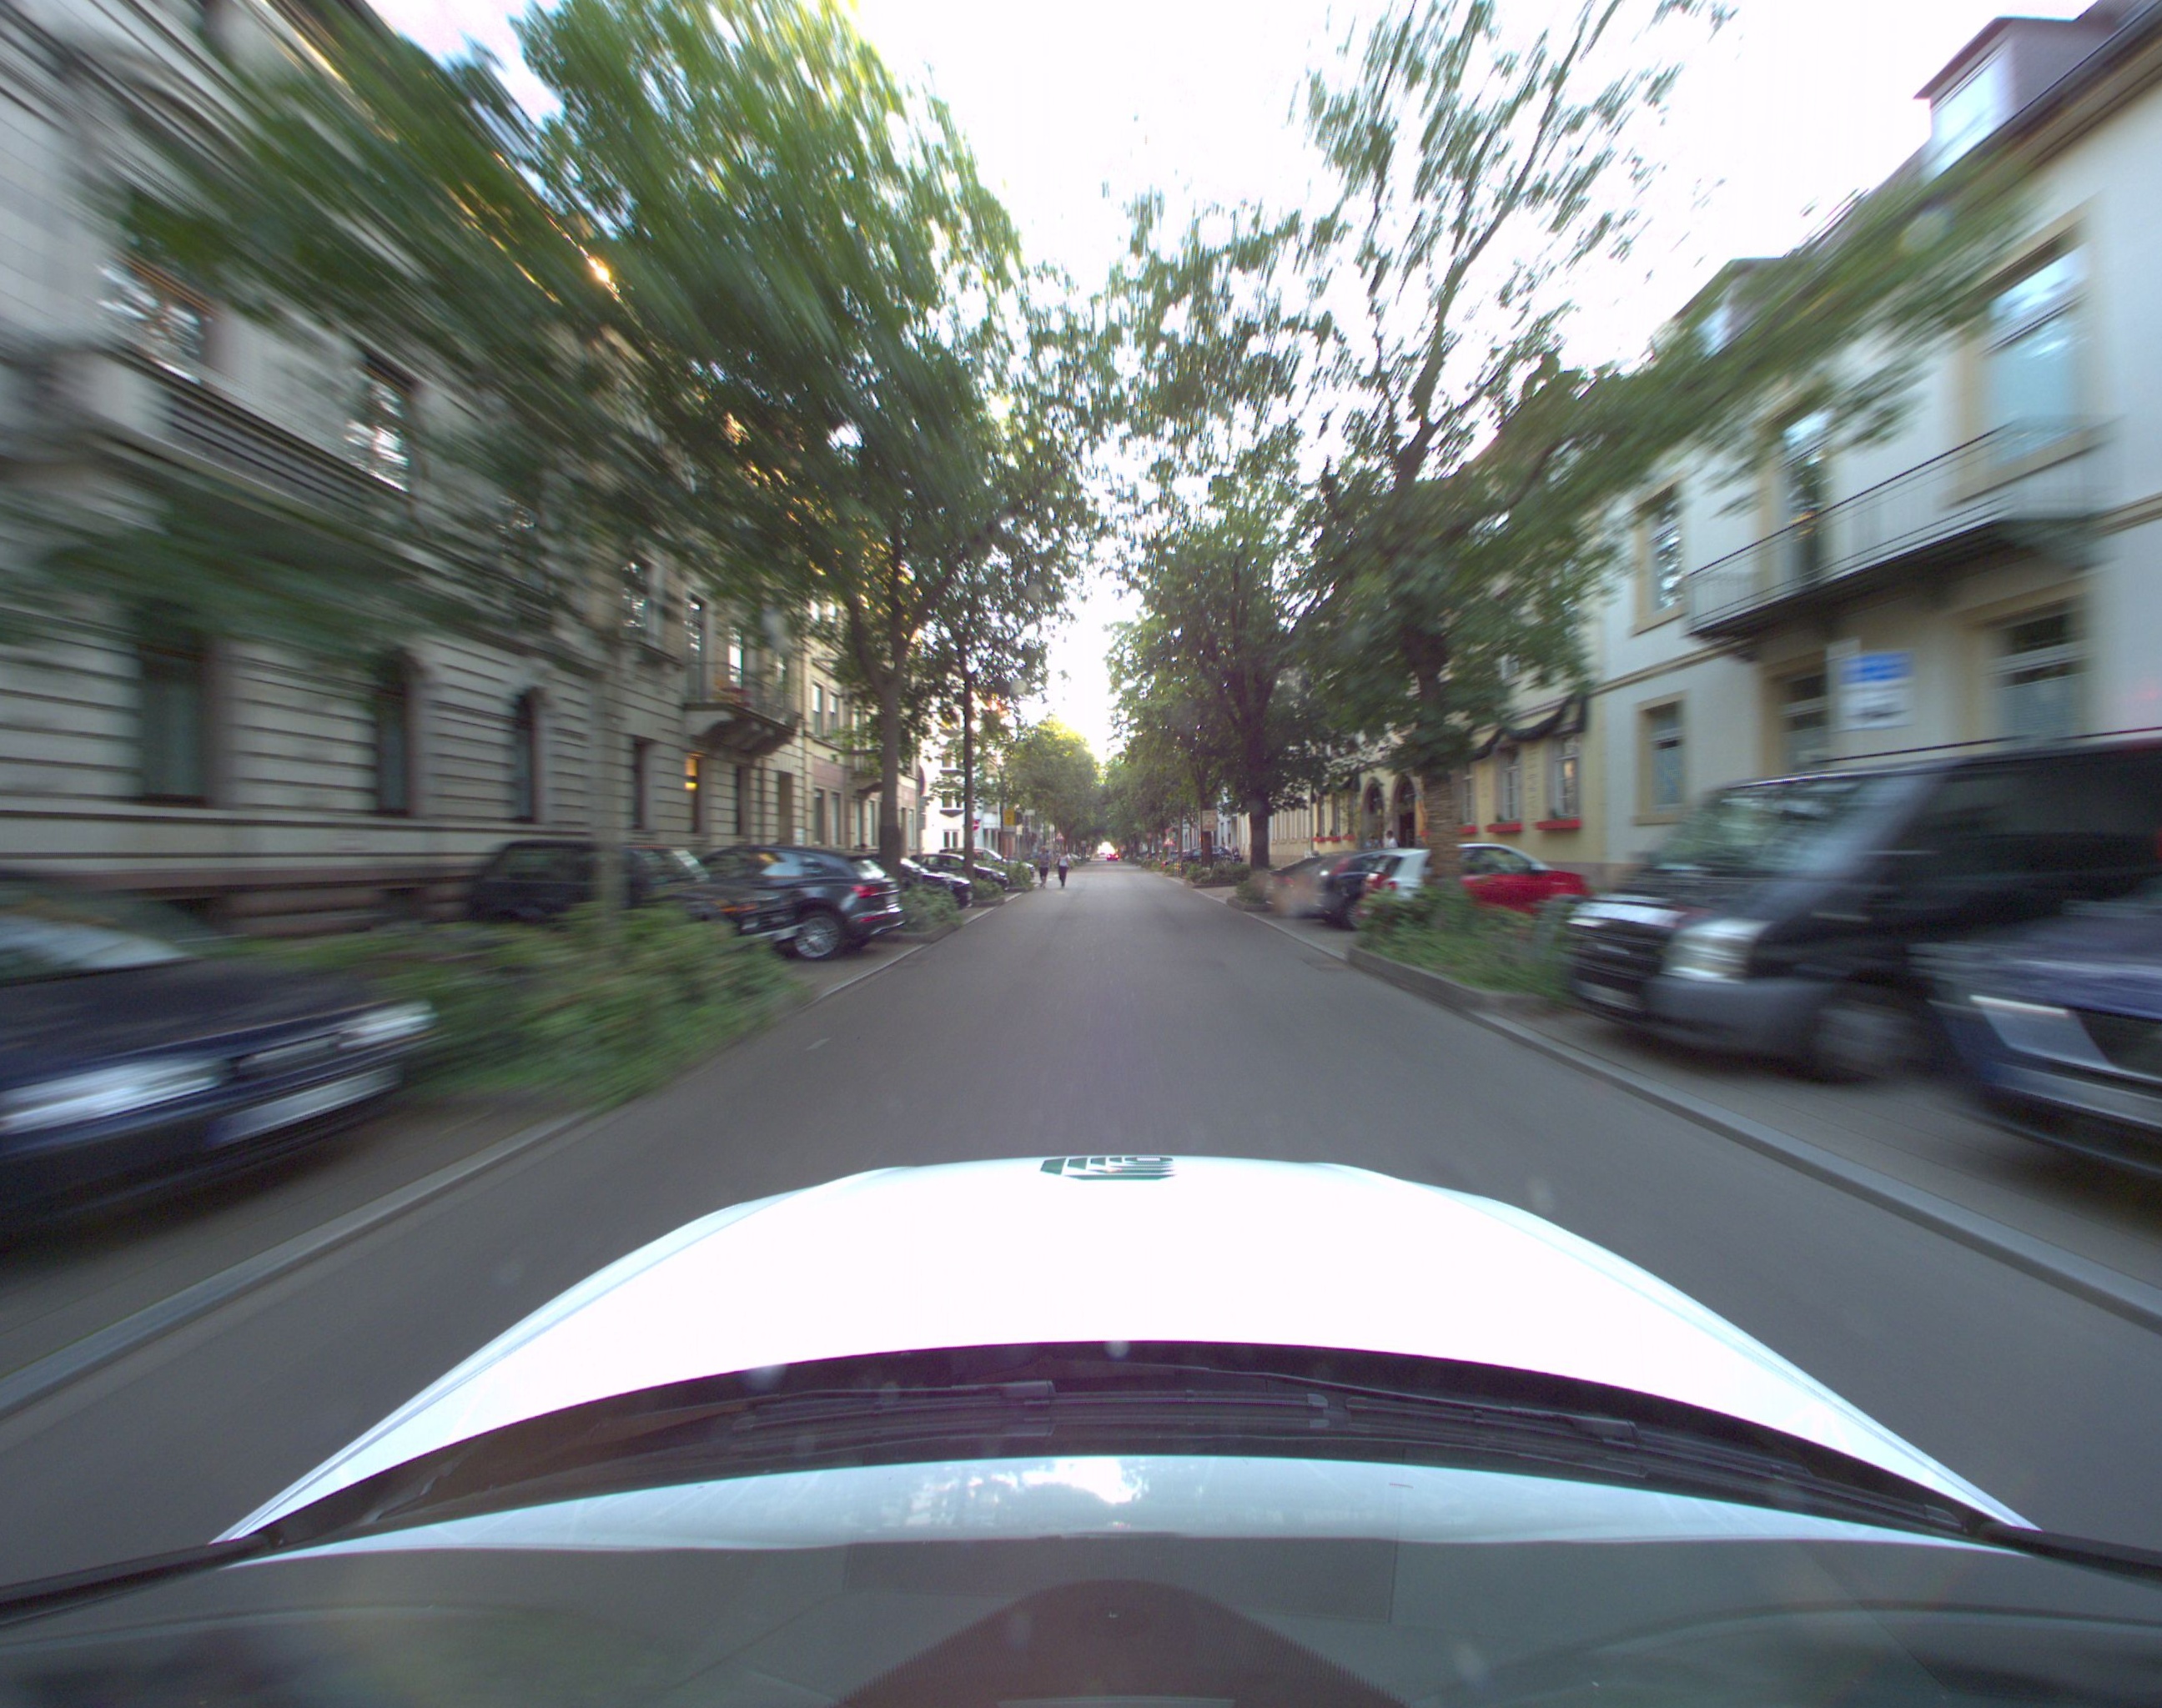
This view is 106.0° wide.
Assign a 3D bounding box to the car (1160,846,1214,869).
[{"bbox_3d":[7.399,0.266,56.987,3.473,1.452,1.899,-2,0,-1],"label":"car"}]

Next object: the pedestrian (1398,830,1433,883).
[{"bbox_3d":[11.452,0.078,27.877,0.778,1.738,0.681,-3,1,-15],"label":"pedestrian"}]

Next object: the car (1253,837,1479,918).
[{"bbox_3d":[6.310,0.498,18.382,4.387,1.393,1.885,-4,0,-1],"label":"car"}]

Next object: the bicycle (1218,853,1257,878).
[{"bbox_3d":[7.734,0.565,40.292,1.793,1.143,0.650,-2,0,-7],"label":"bicycle"}]

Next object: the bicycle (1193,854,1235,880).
[{"bbox_3d":[6.292,0.610,38.591,1.823,1.178,0.673,-2,0,0],"label":"bicycle"}]

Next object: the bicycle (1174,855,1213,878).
[{"bbox_3d":[5.811,0.639,42.110,1.837,1.135,0.742,-2,0,-9],"label":"bicycle"}]

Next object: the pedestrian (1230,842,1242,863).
[{"bbox_3d":[11.265,-0.113,59.177,0.652,1.536,0.832,-2,0,2],"label":"pedestrian"}]

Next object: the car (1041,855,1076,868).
[{"bbox_3d":[-2.569,0.848,92.695,3.854,1.486,1.758,0,0,3],"label":"car"}]

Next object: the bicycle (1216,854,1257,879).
[{"bbox_3d":[7.520,0.585,39.478,1.791,1.128,0.663,-2,0,-5],"label":"bicycle"}]

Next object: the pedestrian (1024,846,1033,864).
[{"bbox_3d":[-5.332,0.089,82.606,0.697,1.757,0.744,-1,-1,25],"label":"pedestrian"}]

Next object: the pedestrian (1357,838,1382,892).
[{"bbox_3d":[9.589,0.361,27.060,0.705,1.738,0.752,-3,1,21],"label":"pedestrian"}]

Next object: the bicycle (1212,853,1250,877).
[{"bbox_3d":[7.800,0.555,42.348,1.793,1.143,0.667,-2,0,-8],"label":"bicycle"}]

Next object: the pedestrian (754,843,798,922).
[{"bbox_3d":[-6.824,0.619,18.269,0.666,1.739,0.738,0,0,4],"label":"pedestrian"}]

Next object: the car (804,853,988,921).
[{"bbox_3d":[-4.311,0.759,19.484,3.931,1.532,1.908,0,0,1],"label":"car"}]

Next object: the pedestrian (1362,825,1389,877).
[{"bbox_3d":[10.071,-0.119,27.849,0.613,1.738,0.624,-3,1,1],"label":"pedestrian"}]

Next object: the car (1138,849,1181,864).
[{"bbox_3d":[8.857,0.270,92.306,4.698,1.710,1.951,-1,1,3],"label":"car"}]

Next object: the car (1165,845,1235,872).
[{"bbox_3d":[7.827,0.281,53.736,4.407,1.656,1.901,-2,0,3],"label":"car"}]

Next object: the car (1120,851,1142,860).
[{"bbox_3d":[9.982,0.352,163.757,4.253,1.565,1.963,-3,-1,1],"label":"car"}]

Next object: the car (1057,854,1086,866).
[{"bbox_3d":[-1.401,0.868,121.152,4.188,1.635,1.963,-3,-1,1],"label":"car"}]

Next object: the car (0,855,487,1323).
[{"bbox_3d":[-5.258,0.744,3.599,3.949,1.387,1.766,2,1,2],"label":"car"}]

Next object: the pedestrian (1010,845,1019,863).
[{"bbox_3d":[-6.414,0.017,78.772,0.700,1.728,0.905,-1,-1,2],"label":"pedestrian"}]

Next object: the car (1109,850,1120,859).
[{"bbox_3d":[6.219,0.085,151.191,1.949,1.565,4.284,-3,0,2],"label":"car"}]

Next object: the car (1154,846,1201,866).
[{"bbox_3d":[7.749,0.162,65.486,3.473,1.452,1.899,-2,0,-1],"label":"car"}]

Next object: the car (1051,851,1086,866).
[{"bbox_3d":[-1.769,0.691,113.433,4.665,1.854,1.963,-3,-1,1],"label":"car"}]

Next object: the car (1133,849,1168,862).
[{"bbox_3d":[9.143,0.231,107.676,4.487,1.521,1.998,-3,-1,4],"label":"car"}]

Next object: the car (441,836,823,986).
[{"bbox_3d":[-5.407,0.639,10.173,3.788,1.672,1.714,1,1,0],"label":"car"}]

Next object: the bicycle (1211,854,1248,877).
[{"bbox_3d":[7.604,0.583,41.666,1.791,1.107,0.499,-2,0,-4],"label":"bicycle"}]

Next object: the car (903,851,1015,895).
[{"bbox_3d":[-4.341,0.670,29.394,3.679,1.458,1.873,1,1,1],"label":"car"}]

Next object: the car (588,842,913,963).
[{"bbox_3d":[-4.922,0.677,12.575,4.185,1.672,1.908,1,1,1],"label":"car"}]

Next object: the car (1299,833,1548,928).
[{"bbox_3d":[6.523,0.477,15.863,3.974,1.437,1.926,-4,0,0],"label":"car"}]

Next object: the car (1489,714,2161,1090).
[{"bbox_3d":[5.828,0.221,5.845,4.673,2.011,2.037,-4,0,0],"label":"car"}]

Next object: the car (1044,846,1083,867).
[{"bbox_3d":[-2.181,0.345,100.996,4.665,2.478,2.001,-1,-1,1],"label":"car"}]

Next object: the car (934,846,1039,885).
[{"bbox_3d":[-4.218,0.495,36.803,4.408,1.651,1.874,1,1,2],"label":"car"}]

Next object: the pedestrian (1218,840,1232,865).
[{"bbox_3d":[10.390,-0.090,58.712,0.694,1.737,0.668,-2,0,-30],"label":"pedestrian"}]

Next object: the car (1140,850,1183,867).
[{"bbox_3d":[7.764,0.448,78.397,3.866,1.439,1.846,-2,0,-2],"label":"car"}]

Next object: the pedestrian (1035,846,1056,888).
[{"bbox_3d":[-1.511,0.537,34.857,0.792,1.737,0.831,-2,0,1],"label":"pedestrian"}]

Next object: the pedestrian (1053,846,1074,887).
[{"bbox_3d":[-0.734,0.526,34.684,0.792,1.670,0.831,-2,0,1],"label":"pedestrian"}]

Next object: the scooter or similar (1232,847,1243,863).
[{"bbox_3d":[11.238,0.069,58.421,0.652,1.153,0.832,-2,0,2],"label":"scooter or similar"}]

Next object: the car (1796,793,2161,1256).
[{"bbox_3d":[5.783,0.461,3.207,4.142,1.578,1.969,-4,0,0],"label":"car"}]

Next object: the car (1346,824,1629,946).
[{"bbox_3d":[6.454,0.470,13.255,3.666,1.578,1.715,-4,0,2],"label":"car"}]

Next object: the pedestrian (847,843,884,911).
[{"bbox_3d":[-5.647,0.594,21.332,0.730,1.739,0.673,0,0,8],"label":"pedestrian"}]

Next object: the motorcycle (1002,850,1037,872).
[{"bbox_3d":[-4.220,0.464,55.915,2.214,1.481,0.854,-1,1,-17],"label":"motorcycle"}]
